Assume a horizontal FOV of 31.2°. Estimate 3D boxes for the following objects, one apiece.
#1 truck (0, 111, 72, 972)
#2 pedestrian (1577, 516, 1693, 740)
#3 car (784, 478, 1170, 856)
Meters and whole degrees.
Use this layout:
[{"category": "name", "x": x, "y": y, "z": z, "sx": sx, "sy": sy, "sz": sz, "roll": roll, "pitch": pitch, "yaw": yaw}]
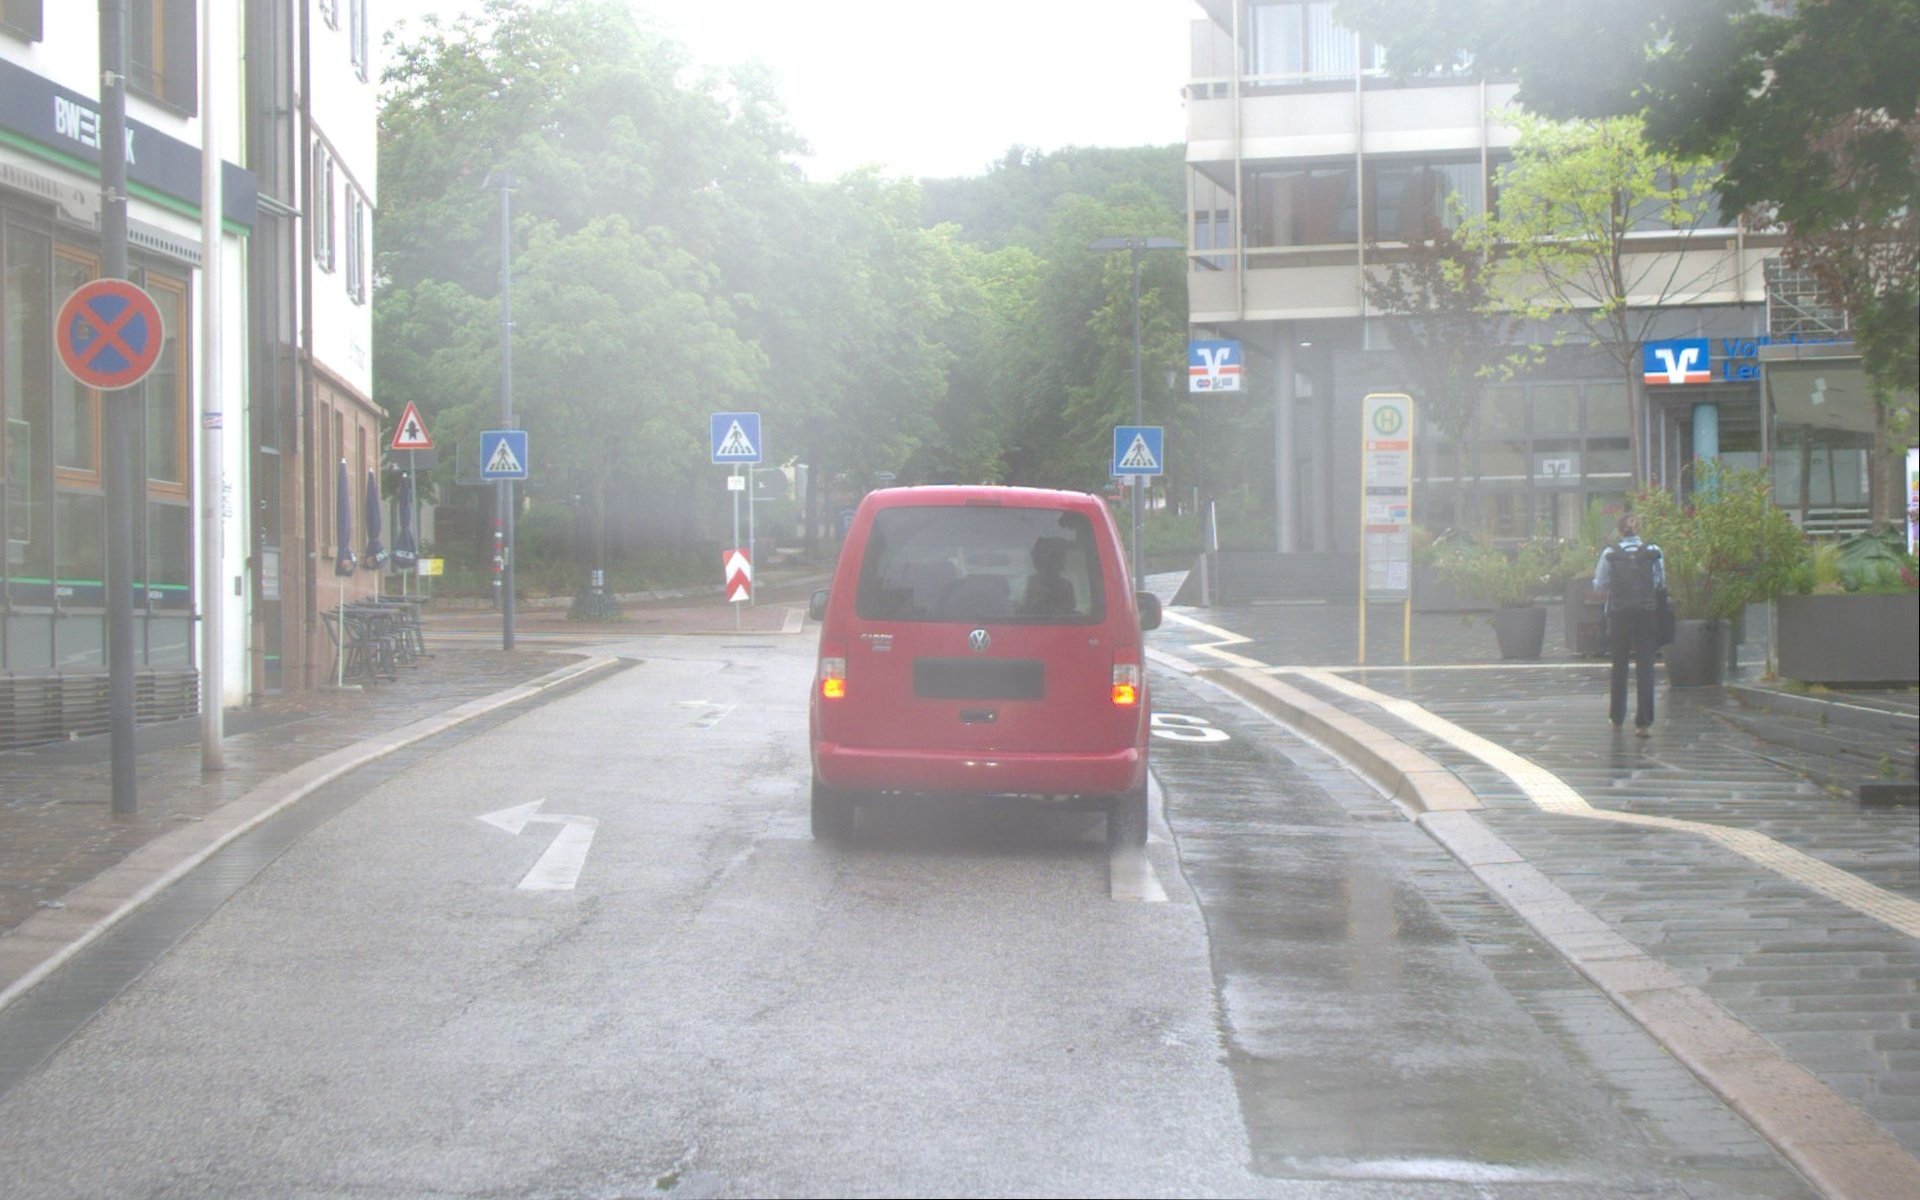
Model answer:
[{"category": "truck", "x": -4.229, "y": -0.110, "z": 8.707, "sx": 2.473, "sy": 2.785, "sz": 6.601, "roll": -1, "pitch": 2, "yaw": -3}, {"category": "pedestrian", "x": 4.966, "y": 0.202, "z": 25.326, "sx": 0.728, "sy": 1.611, "sz": 0.693, "roll": -1, "pitch": 0, "yaw": 5}, {"category": "car", "x": 0.029, "y": 0.303, "z": 18.837, "sx": 1.862, "sy": 1.824, "sz": 4.185, "roll": -1, "pitch": 1, "yaw": -2}]
